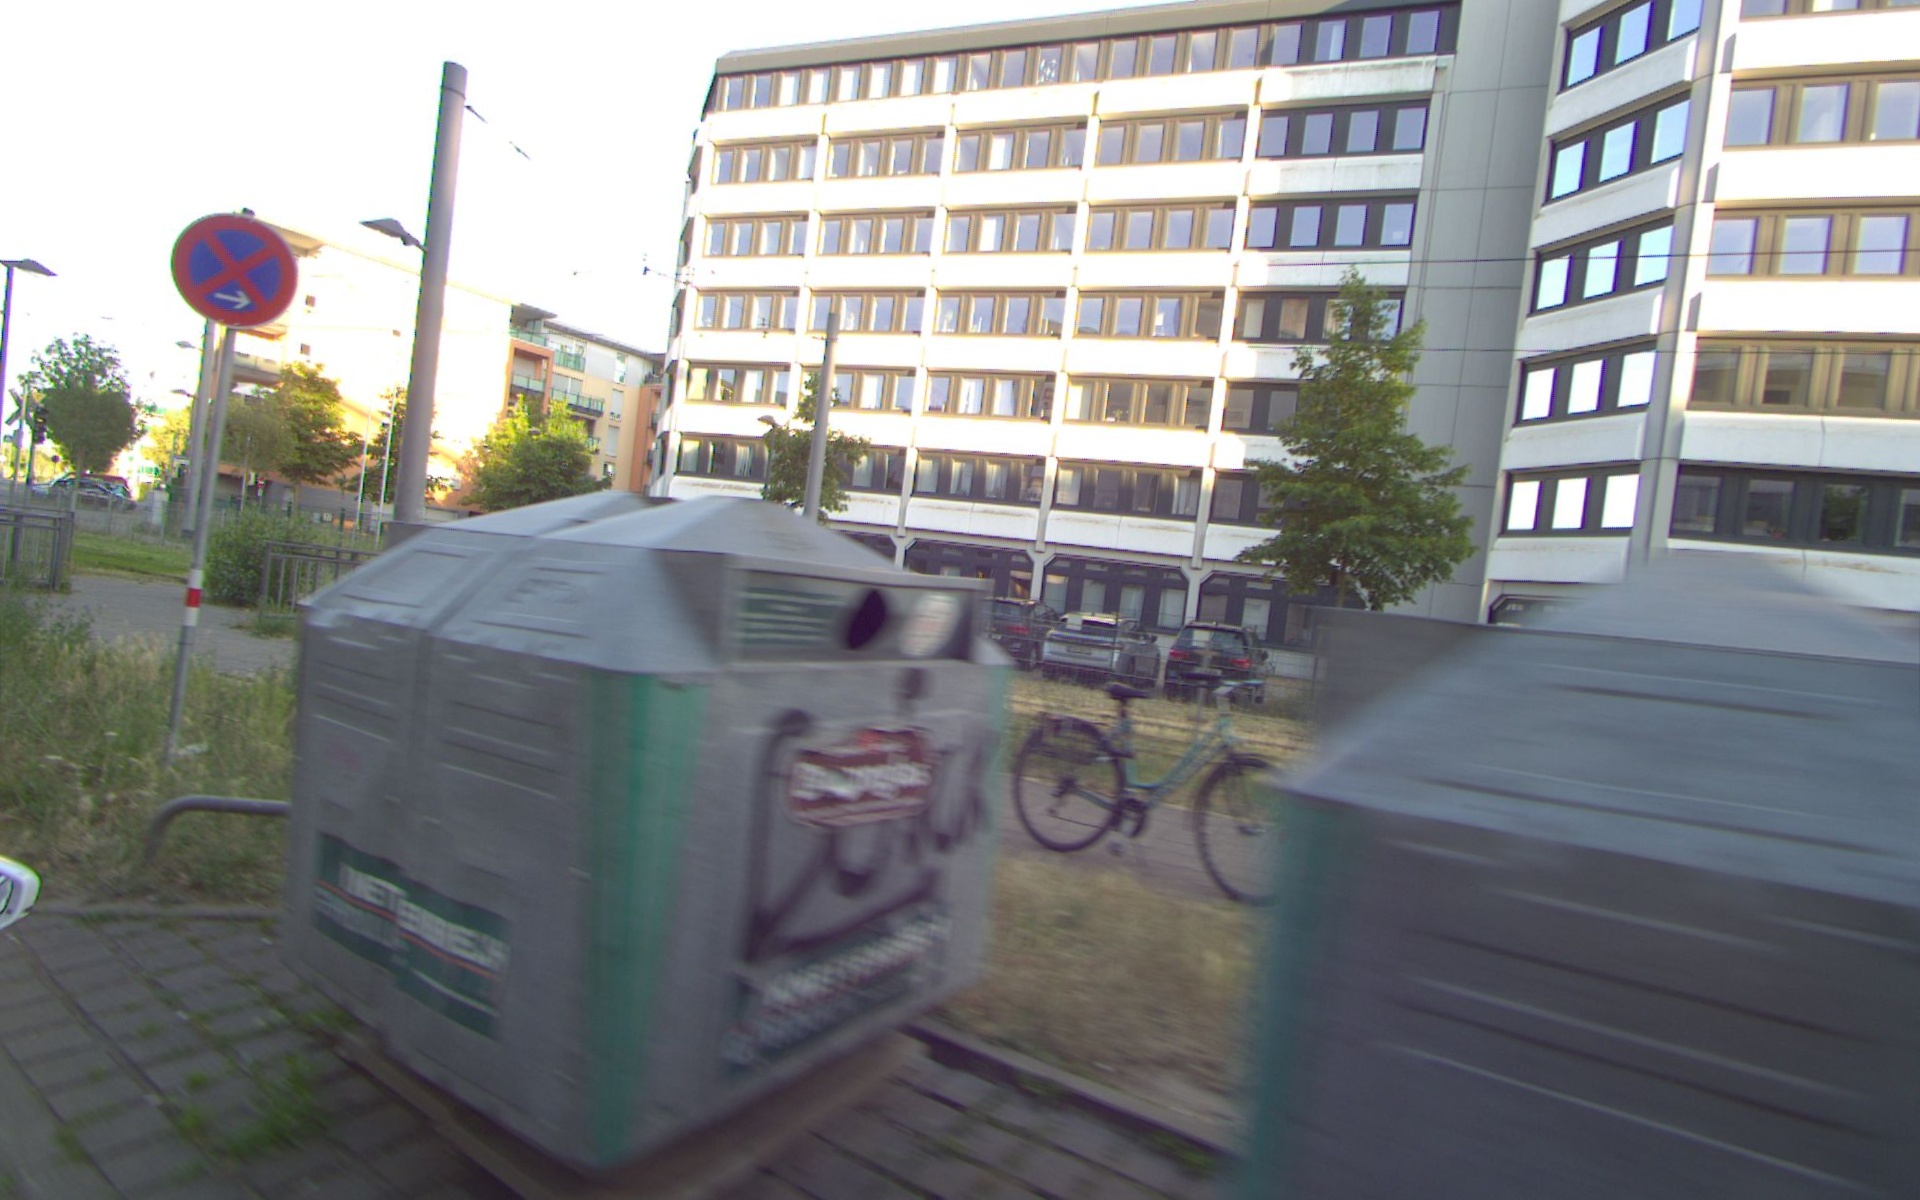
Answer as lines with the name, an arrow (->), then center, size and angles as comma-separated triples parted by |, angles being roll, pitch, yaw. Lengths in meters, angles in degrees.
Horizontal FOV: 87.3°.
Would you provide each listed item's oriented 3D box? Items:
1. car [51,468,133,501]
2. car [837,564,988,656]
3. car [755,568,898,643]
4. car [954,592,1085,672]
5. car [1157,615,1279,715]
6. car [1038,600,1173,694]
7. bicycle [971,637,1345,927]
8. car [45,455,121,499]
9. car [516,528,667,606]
car -> -60.006, -7.966, 69.603 | 4.139, 1.595, 1.683 | 8, 0, -42
car -> -1.117, 0.342, 26.053 | 1.896, 1.960, 4.508 | 8, 0, 24
car -> -3.511, 0.214, 27.372 | 1.663, 1.622, 4.509 | 8, 0, 23
car -> 1.591, 0.844, 24.961 | 1.663, 1.622, 4.509 | 8, 0, 23
car -> 5.413, 1.317, 20.686 | 1.663, 1.622, 4.509 | 8, 0, 22
car -> 3.250, 1.031, 21.701 | 1.663, 1.622, 4.509 | 8, 0, 22
bicycle -> 1.025, 0.858, 5.243 | 1.659, 1.096, 0.765 | 8, 1, 26
car -> -67.600, -9.427, 77.608 | 1.681, 2.616, 4.144 | 8, 0, 44
car -> -11.834, -0.991, 32.645 | 1.896, 1.960, 4.509 | 8, 0, 23
